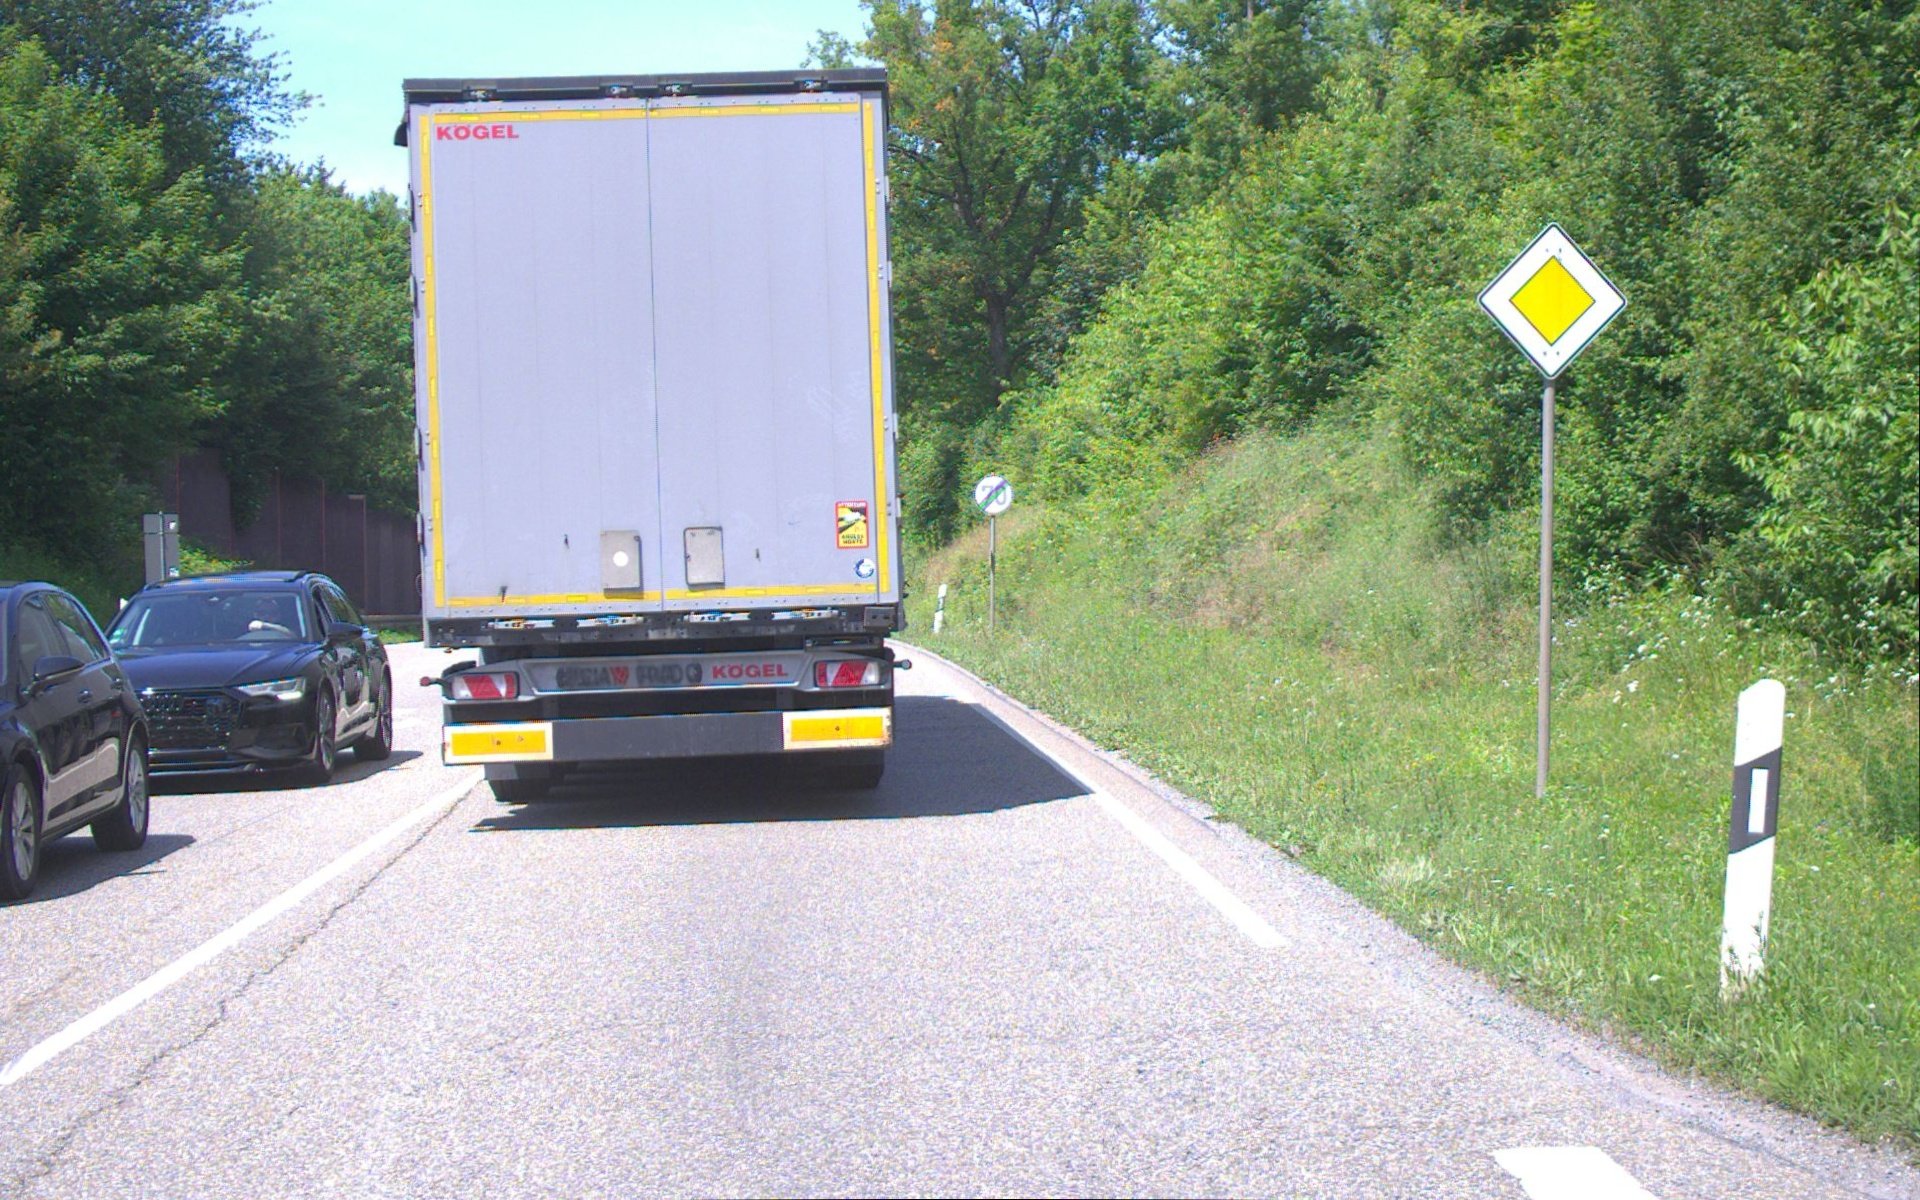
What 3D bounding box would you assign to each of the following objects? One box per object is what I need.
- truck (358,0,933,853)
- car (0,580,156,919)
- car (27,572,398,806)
[{"bbox_3d":[-1.851,-1.090,21.262,2.822,4.588,6.666,-2,1,-4],"label":"truck"},{"bbox_3d":[-5.090,0.669,16.404,1.681,1.409,4.182,-2,1,-3],"label":"car"},{"bbox_3d":[-5.262,0.566,24.743,1.804,1.448,4.387,-2,1,-2],"label":"car"}]
